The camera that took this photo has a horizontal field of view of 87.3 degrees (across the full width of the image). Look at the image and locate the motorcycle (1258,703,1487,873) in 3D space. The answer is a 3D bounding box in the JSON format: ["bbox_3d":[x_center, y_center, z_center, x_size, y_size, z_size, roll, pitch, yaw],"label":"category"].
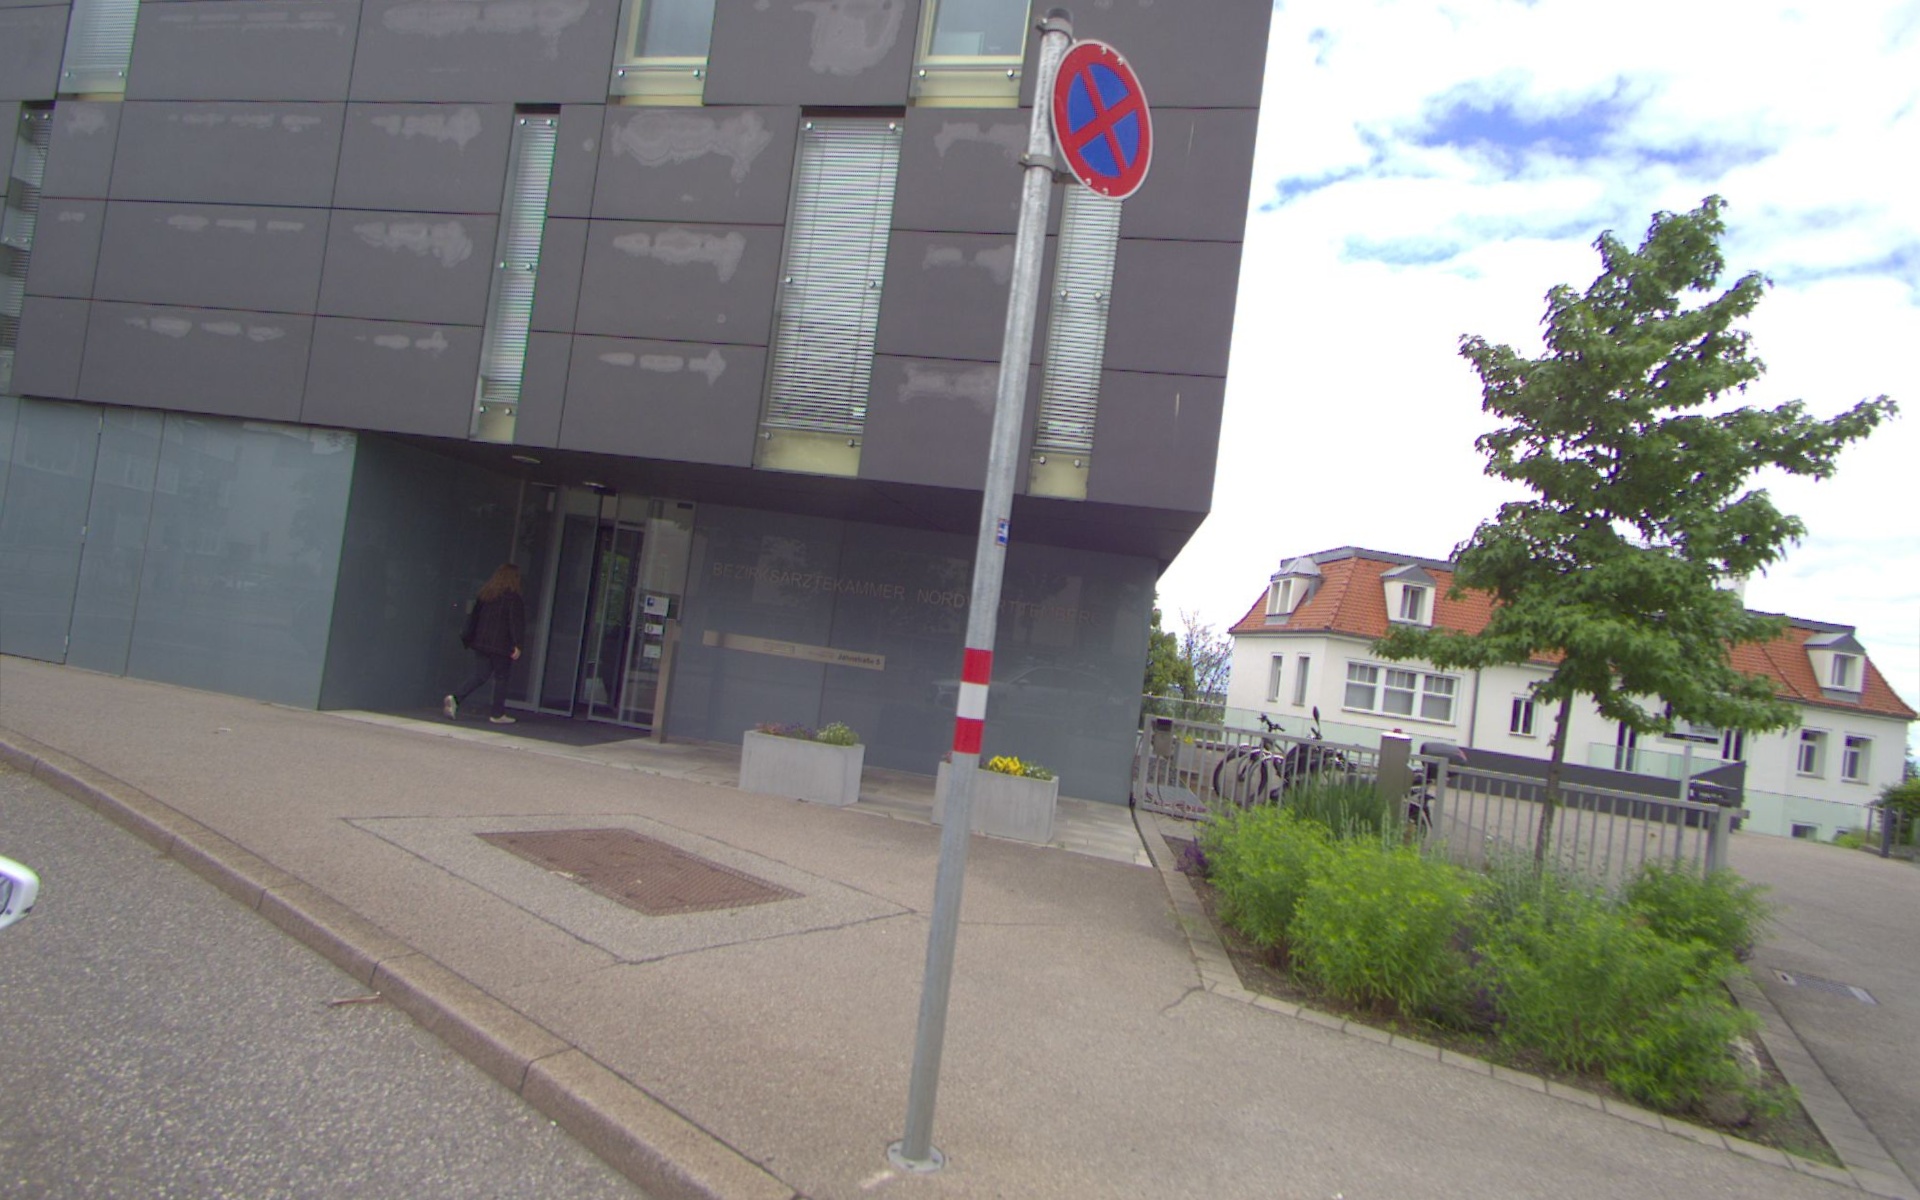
[{"bbox_3d":[4.442,1.993,10.962,2.085,1.409,0.671,8,-1,20],"label":"motorcycle"}]

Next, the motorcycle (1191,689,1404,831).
[{"bbox_3d":[4.344,2.024,13.051,2.418,1.409,0.671,7,-2,20],"label":"motorcycle"}]

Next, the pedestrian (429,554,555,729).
[{"bbox_3d":[-4.989,0.448,10.787,0.700,1.713,0.866,7,-2,3],"label":"pedestrian"}]
